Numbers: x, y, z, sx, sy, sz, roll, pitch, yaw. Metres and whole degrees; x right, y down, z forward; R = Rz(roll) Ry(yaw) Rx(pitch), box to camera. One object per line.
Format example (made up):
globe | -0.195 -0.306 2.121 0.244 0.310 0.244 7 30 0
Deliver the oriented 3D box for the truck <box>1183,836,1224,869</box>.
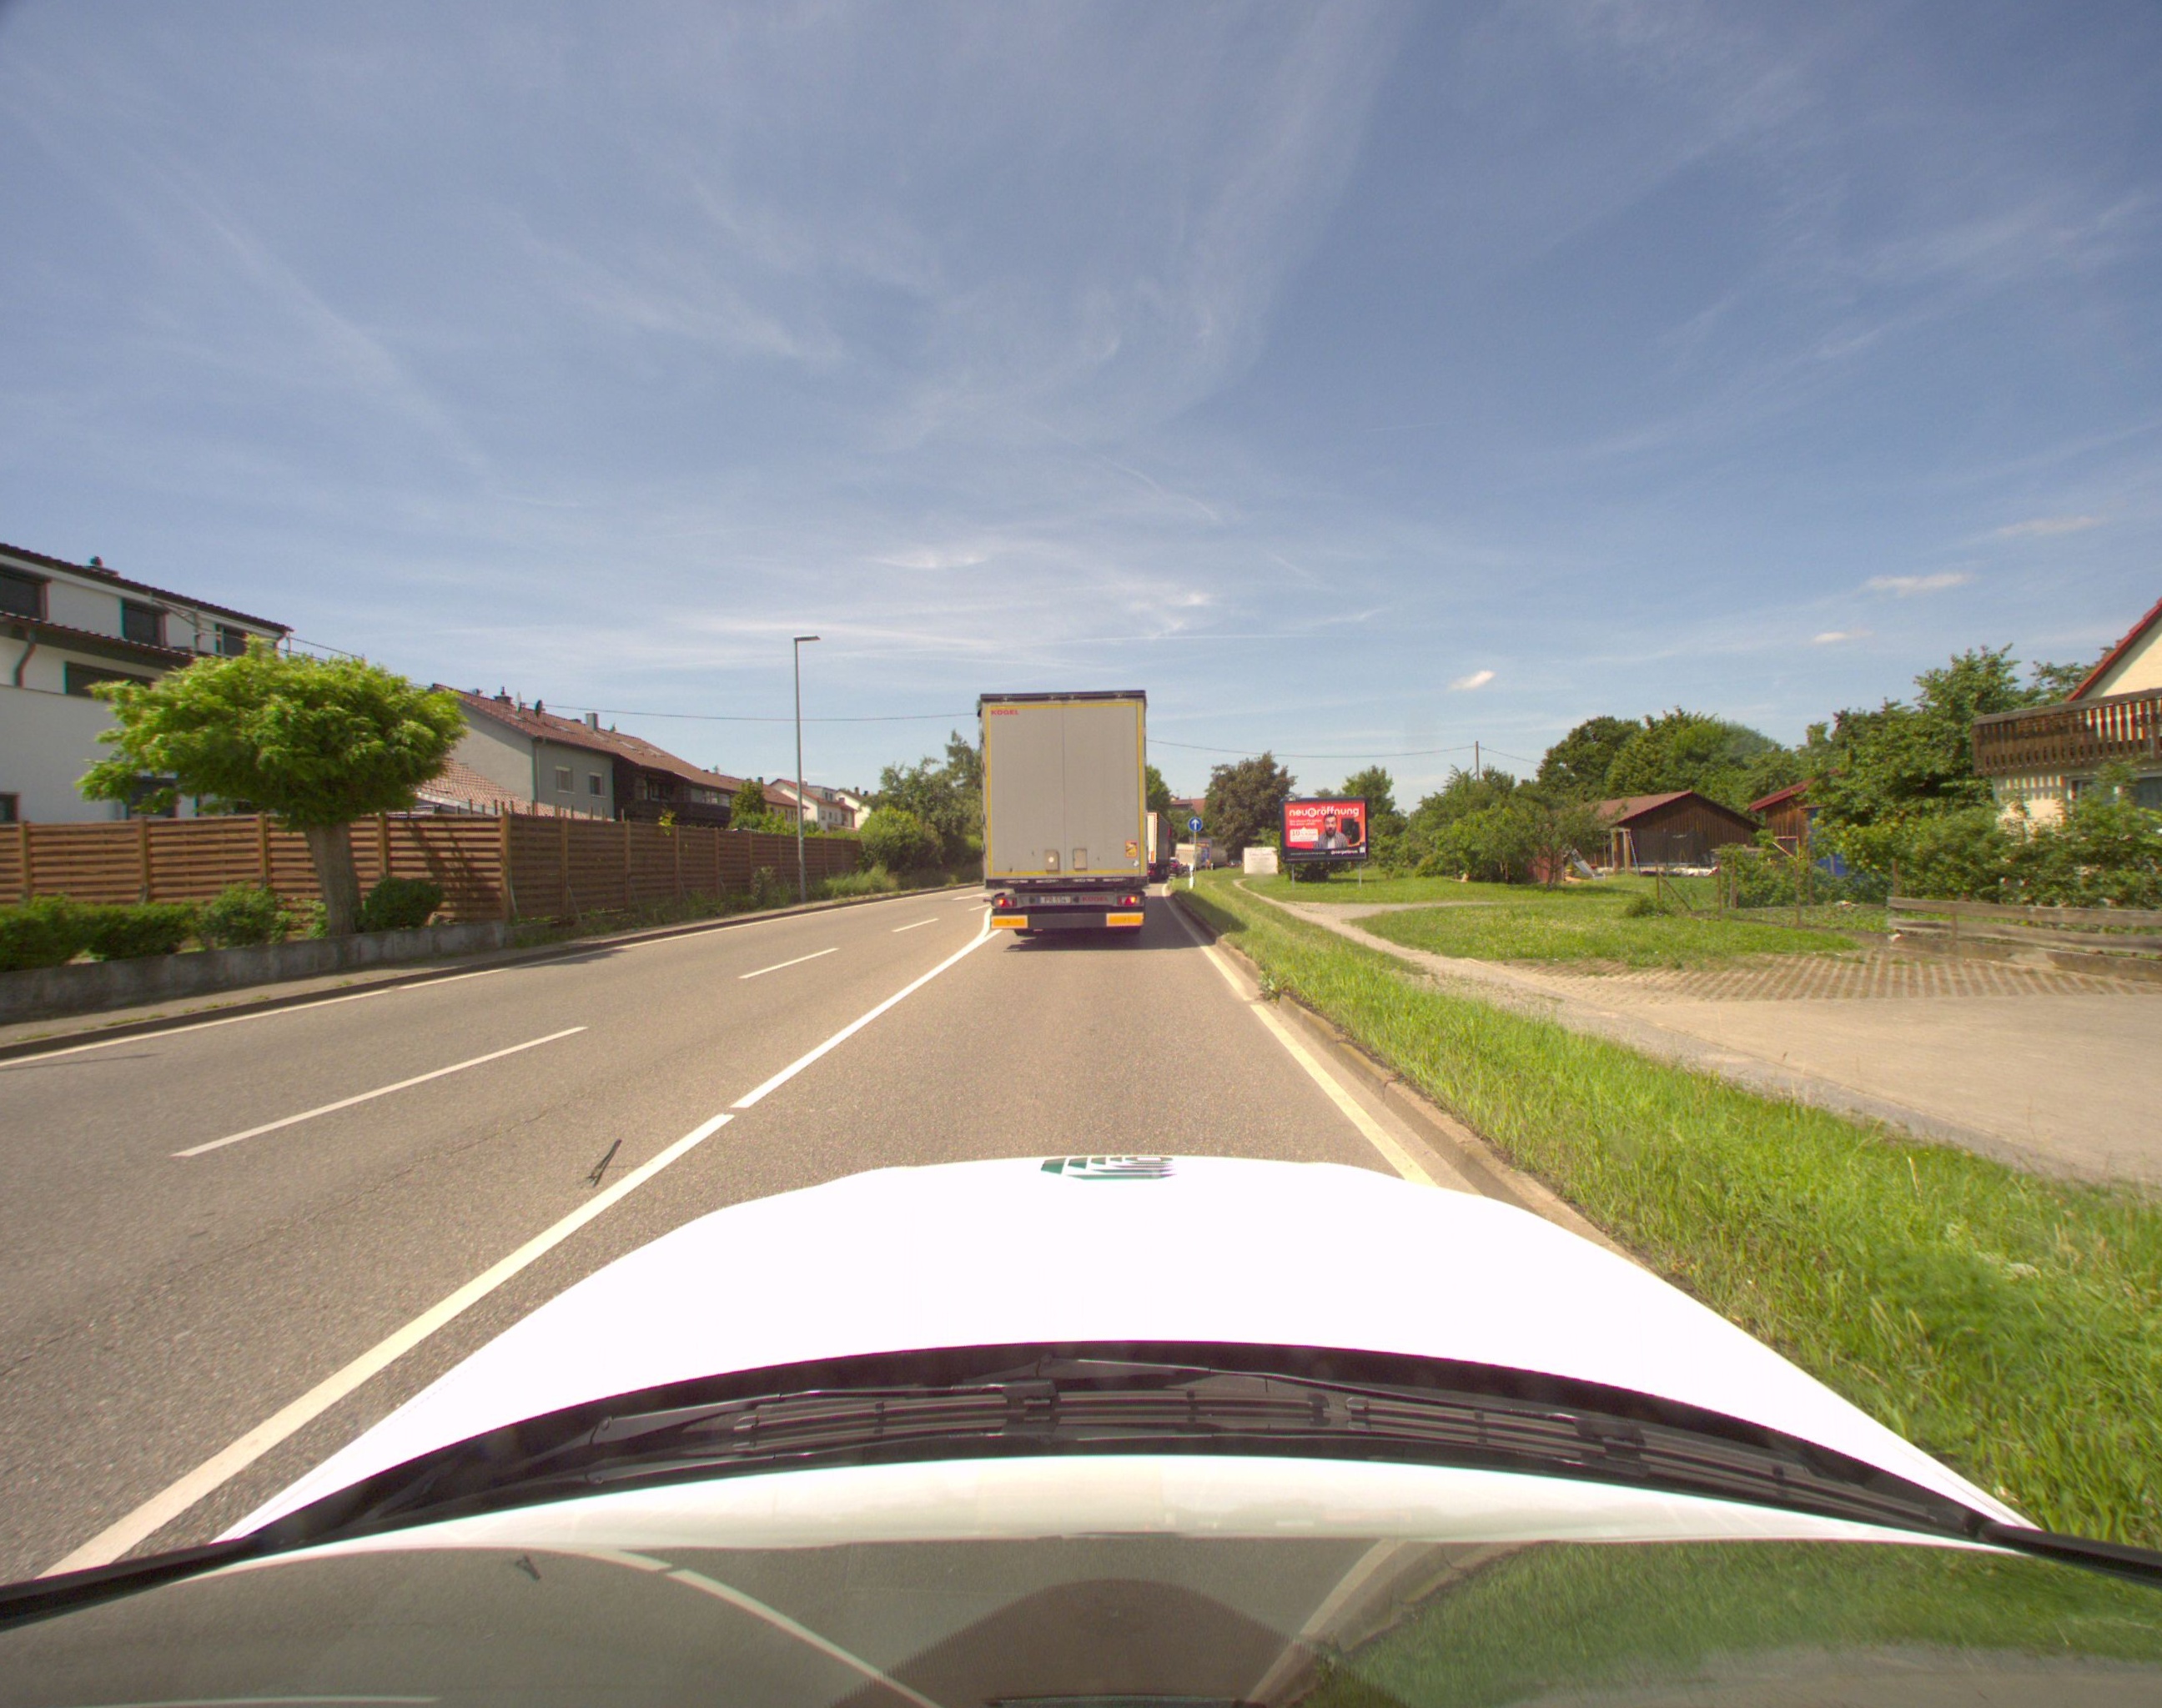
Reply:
truck | 14.374 -0.173 94.824 3.406 3.604 9.395 -1 0 17

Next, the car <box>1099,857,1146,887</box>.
car | 1.983 0.831 37.961 1.808 1.346 3.857 0 -1 9

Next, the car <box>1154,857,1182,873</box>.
car | 7.777 0.987 72.435 1.979 1.376 4.014 0 -1 13

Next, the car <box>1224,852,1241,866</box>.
car | 21.789 0.772 116.858 1.978 2.014 4.018 -1 -1 17

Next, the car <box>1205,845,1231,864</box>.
car | 17.734 0.044 105.149 2.512 2.277 6.410 0 0 17

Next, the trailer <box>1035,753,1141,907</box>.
trailer | 0.337 -0.656 25.337 2.814 4.111 6.549 -1 0 3

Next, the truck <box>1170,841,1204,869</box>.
truck | 10.923 0.143 83.517 2.524 2.803 6.057 0 -1 16

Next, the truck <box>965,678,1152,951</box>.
truck | -0.049 -0.615 18.078 2.810 4.127 11.452 0 0 3

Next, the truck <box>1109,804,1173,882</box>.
truck | 4.210 -0.504 52.878 2.744 4.289 16.455 0 -1 9
